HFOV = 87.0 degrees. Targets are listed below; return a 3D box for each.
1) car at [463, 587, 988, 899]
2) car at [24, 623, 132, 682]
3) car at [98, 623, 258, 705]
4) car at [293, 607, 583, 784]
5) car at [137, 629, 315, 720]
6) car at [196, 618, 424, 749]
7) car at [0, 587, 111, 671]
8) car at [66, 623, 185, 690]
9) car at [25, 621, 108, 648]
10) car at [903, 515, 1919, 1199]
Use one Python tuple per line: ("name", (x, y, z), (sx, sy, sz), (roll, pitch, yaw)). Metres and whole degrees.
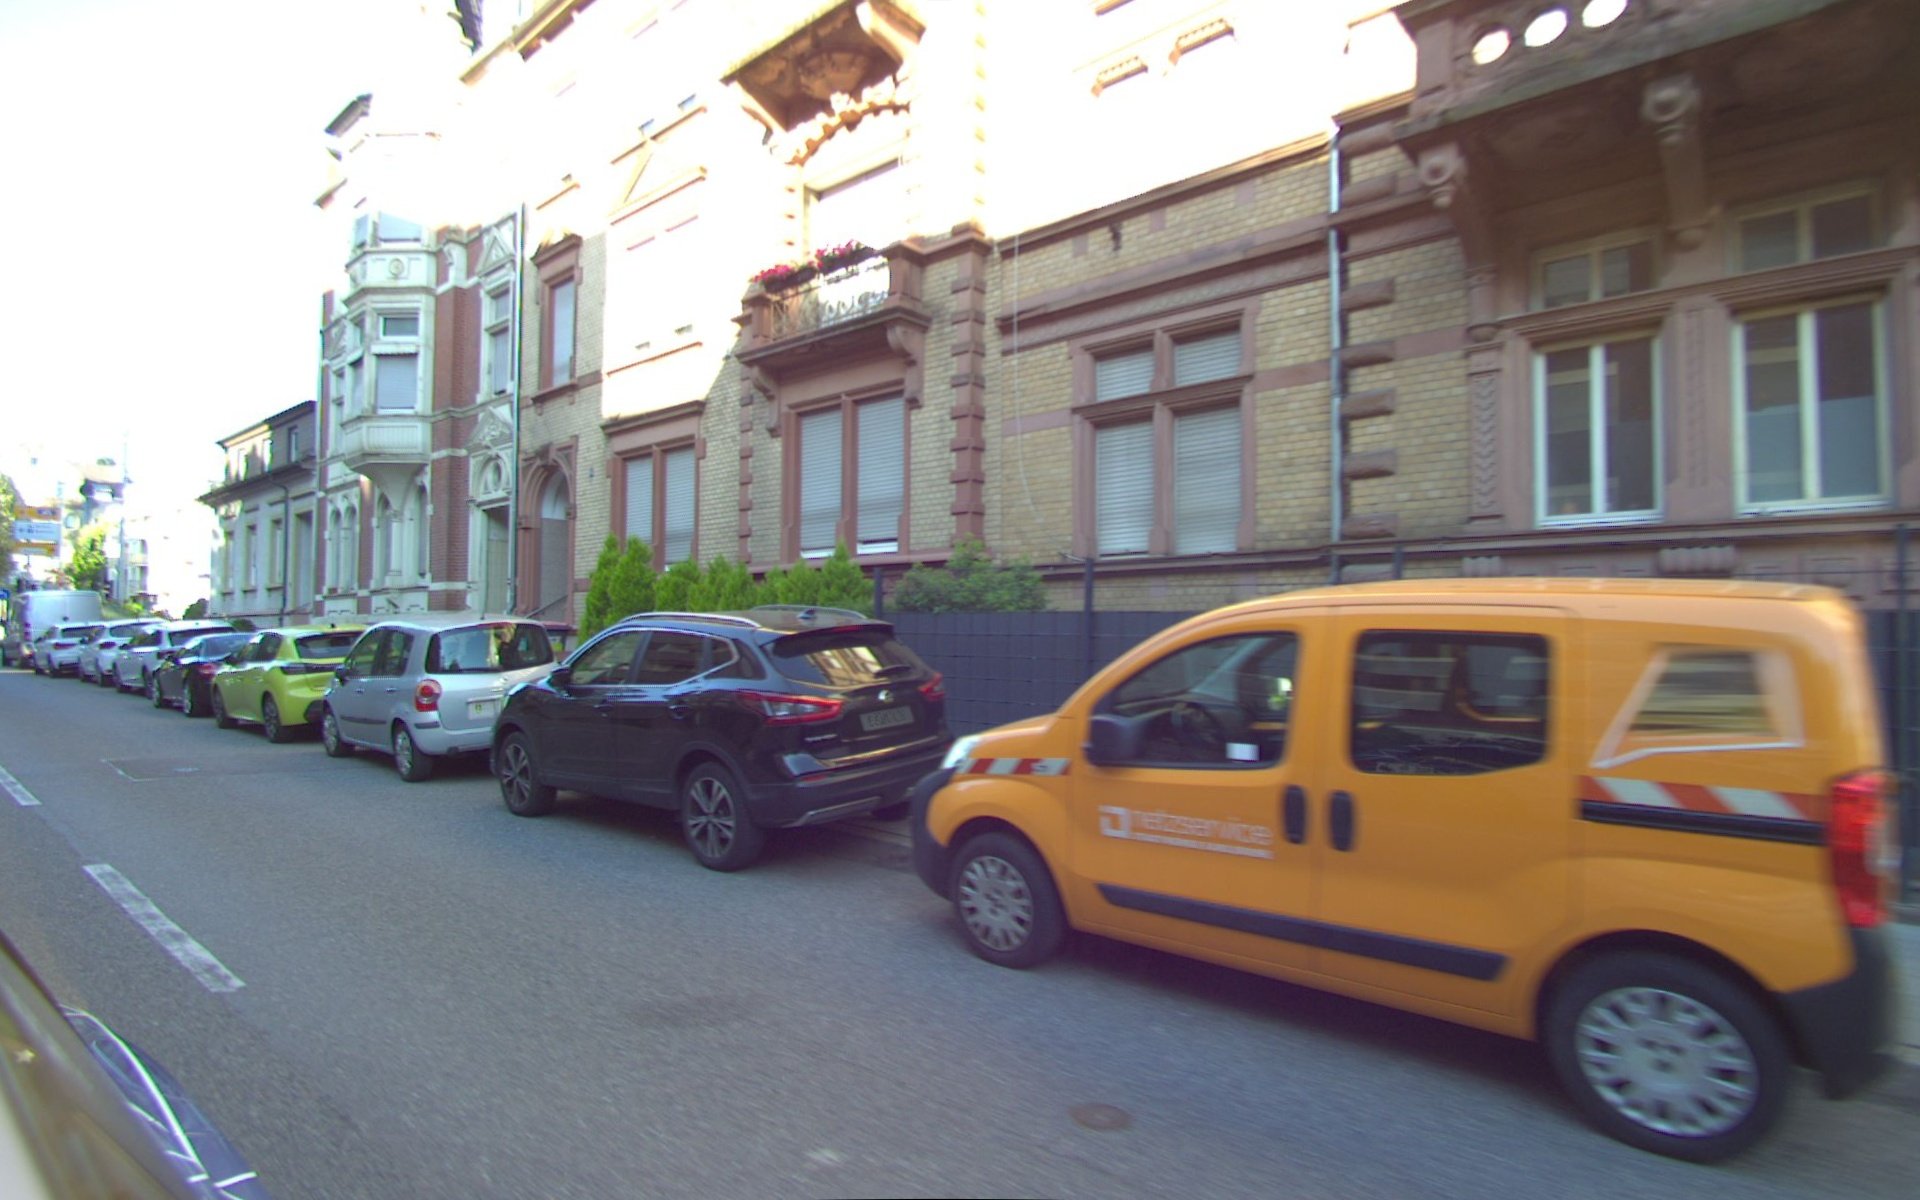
("car", (-2.018, 0.844, 7.723), (4.439, 1.721, 1.684), (-2, -2, 42))
("car", (-24.323, 1.405, 27.878), (3.820, 1.514, 1.685), (-2, -2, 40))
("car", (-16.545, 1.283, 21.330), (4.544, 1.548, 1.685), (-2, -2, 39))
("car", (-5.748, 0.905, 10.983), (3.635, 1.596, 1.684), (-2, -2, 43))
("car", (-12.703, 1.195, 17.440), (3.858, 1.377, 1.684), (-2, -2, 41))
("car", (-9.209, 1.042, 14.210), (4.072, 1.514, 1.684), (0, -1, 42))
("car", (-29.390, 0.931, 32.654), (6.009, 2.479, 2.047), (-2, -2, 40))
("car", (-20.585, 1.328, 24.922), (4.020, 1.514, 1.684), (-2, -2, 42))
("car", (-64.538, 2.470, 73.130), (1.999, 1.866, 4.269), (-3, -2, 40))
("car", (1.736, 0.705, 4.219), (3.854, 1.752, 1.685), (-2, -2, 40))
